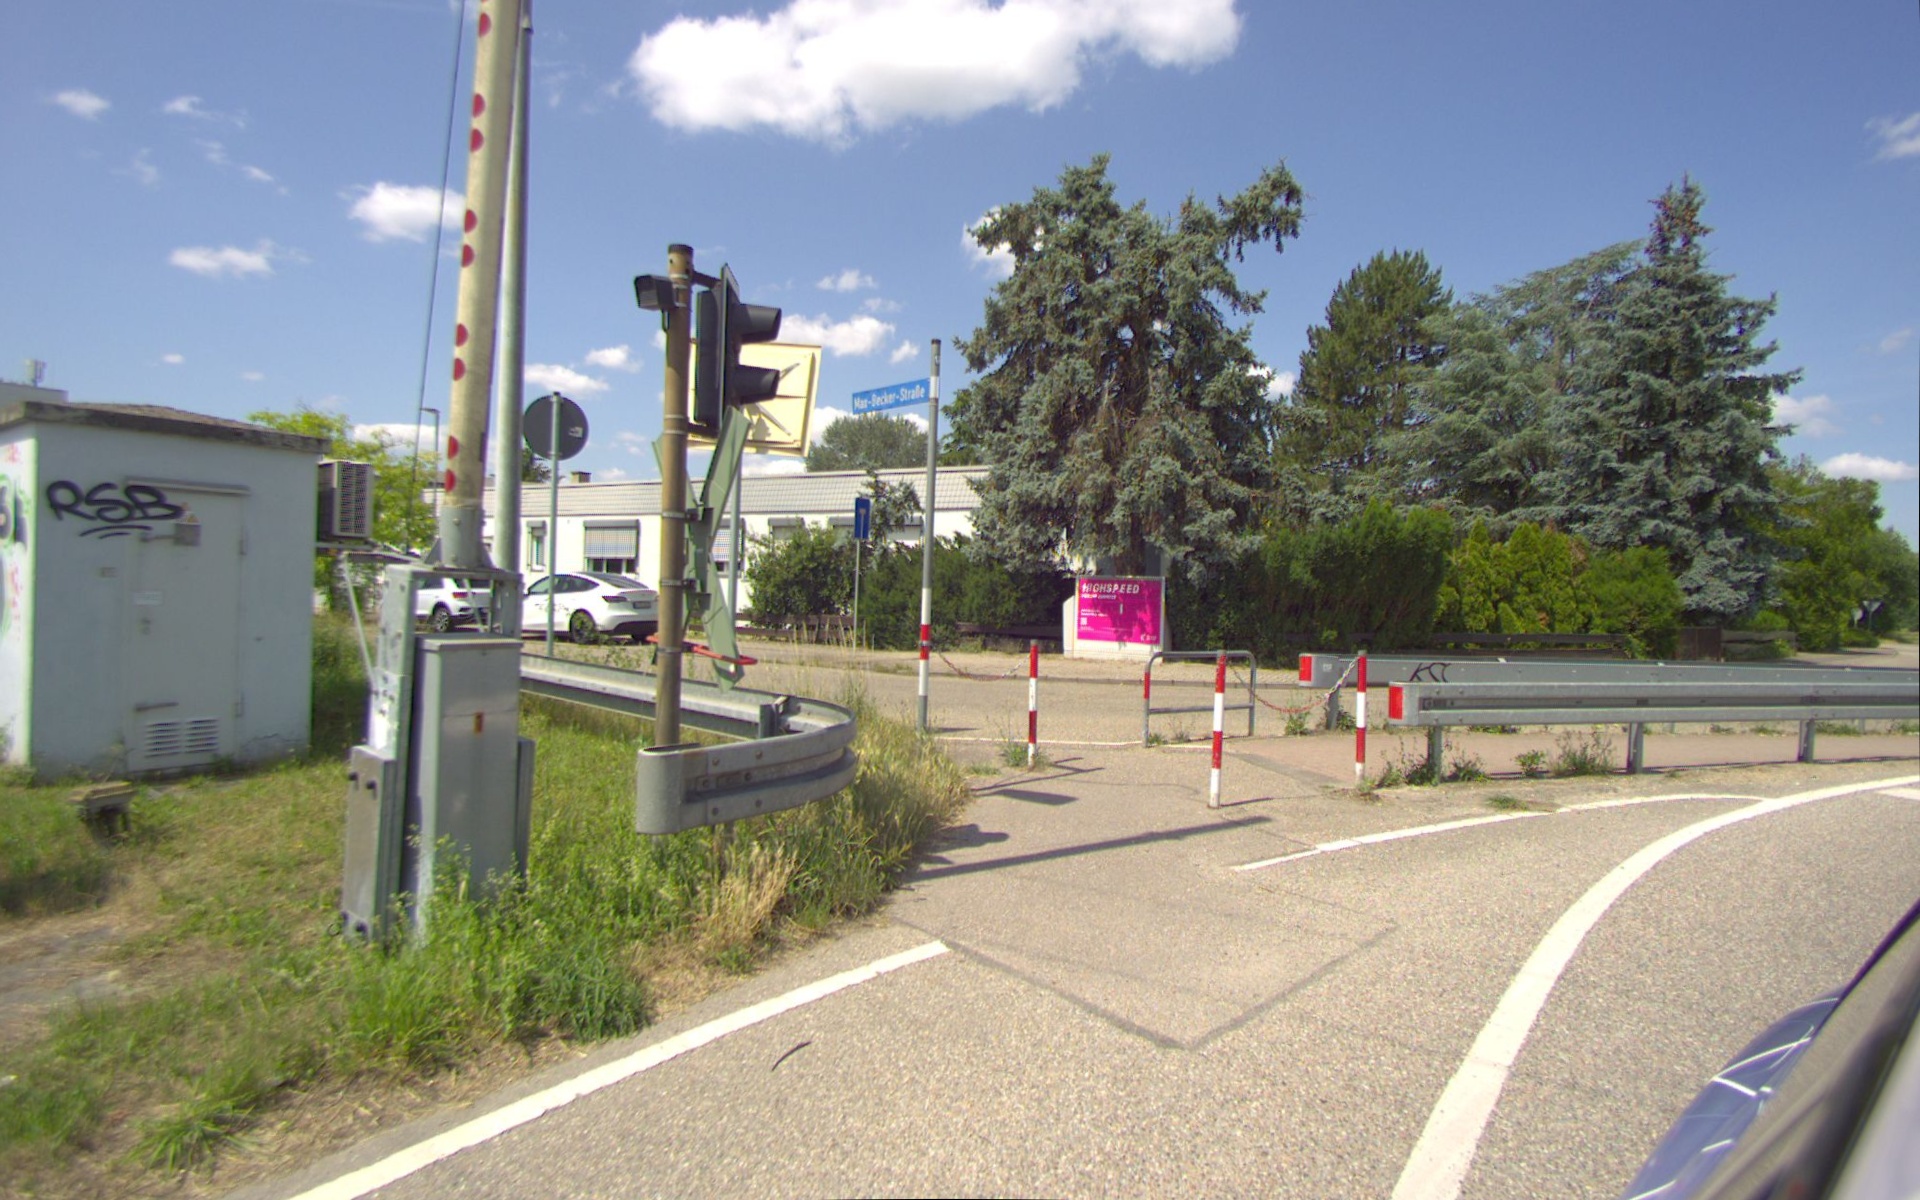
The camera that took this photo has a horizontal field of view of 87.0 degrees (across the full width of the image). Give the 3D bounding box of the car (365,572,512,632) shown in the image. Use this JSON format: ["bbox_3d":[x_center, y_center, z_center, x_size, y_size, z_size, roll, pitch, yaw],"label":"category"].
[{"bbox_3d":[-13.834,0.028,26.802,3.968,1.473,1.632,1,0,32],"label":"car"}]

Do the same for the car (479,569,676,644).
[{"bbox_3d":[-8.962,0.106,23.656,4.418,1.529,1.978,2,1,31],"label":"car"}]

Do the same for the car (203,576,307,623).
[{"bbox_3d":[-22.456,-0.030,32.211,3.029,1.394,1.564,2,0,30],"label":"car"}]
